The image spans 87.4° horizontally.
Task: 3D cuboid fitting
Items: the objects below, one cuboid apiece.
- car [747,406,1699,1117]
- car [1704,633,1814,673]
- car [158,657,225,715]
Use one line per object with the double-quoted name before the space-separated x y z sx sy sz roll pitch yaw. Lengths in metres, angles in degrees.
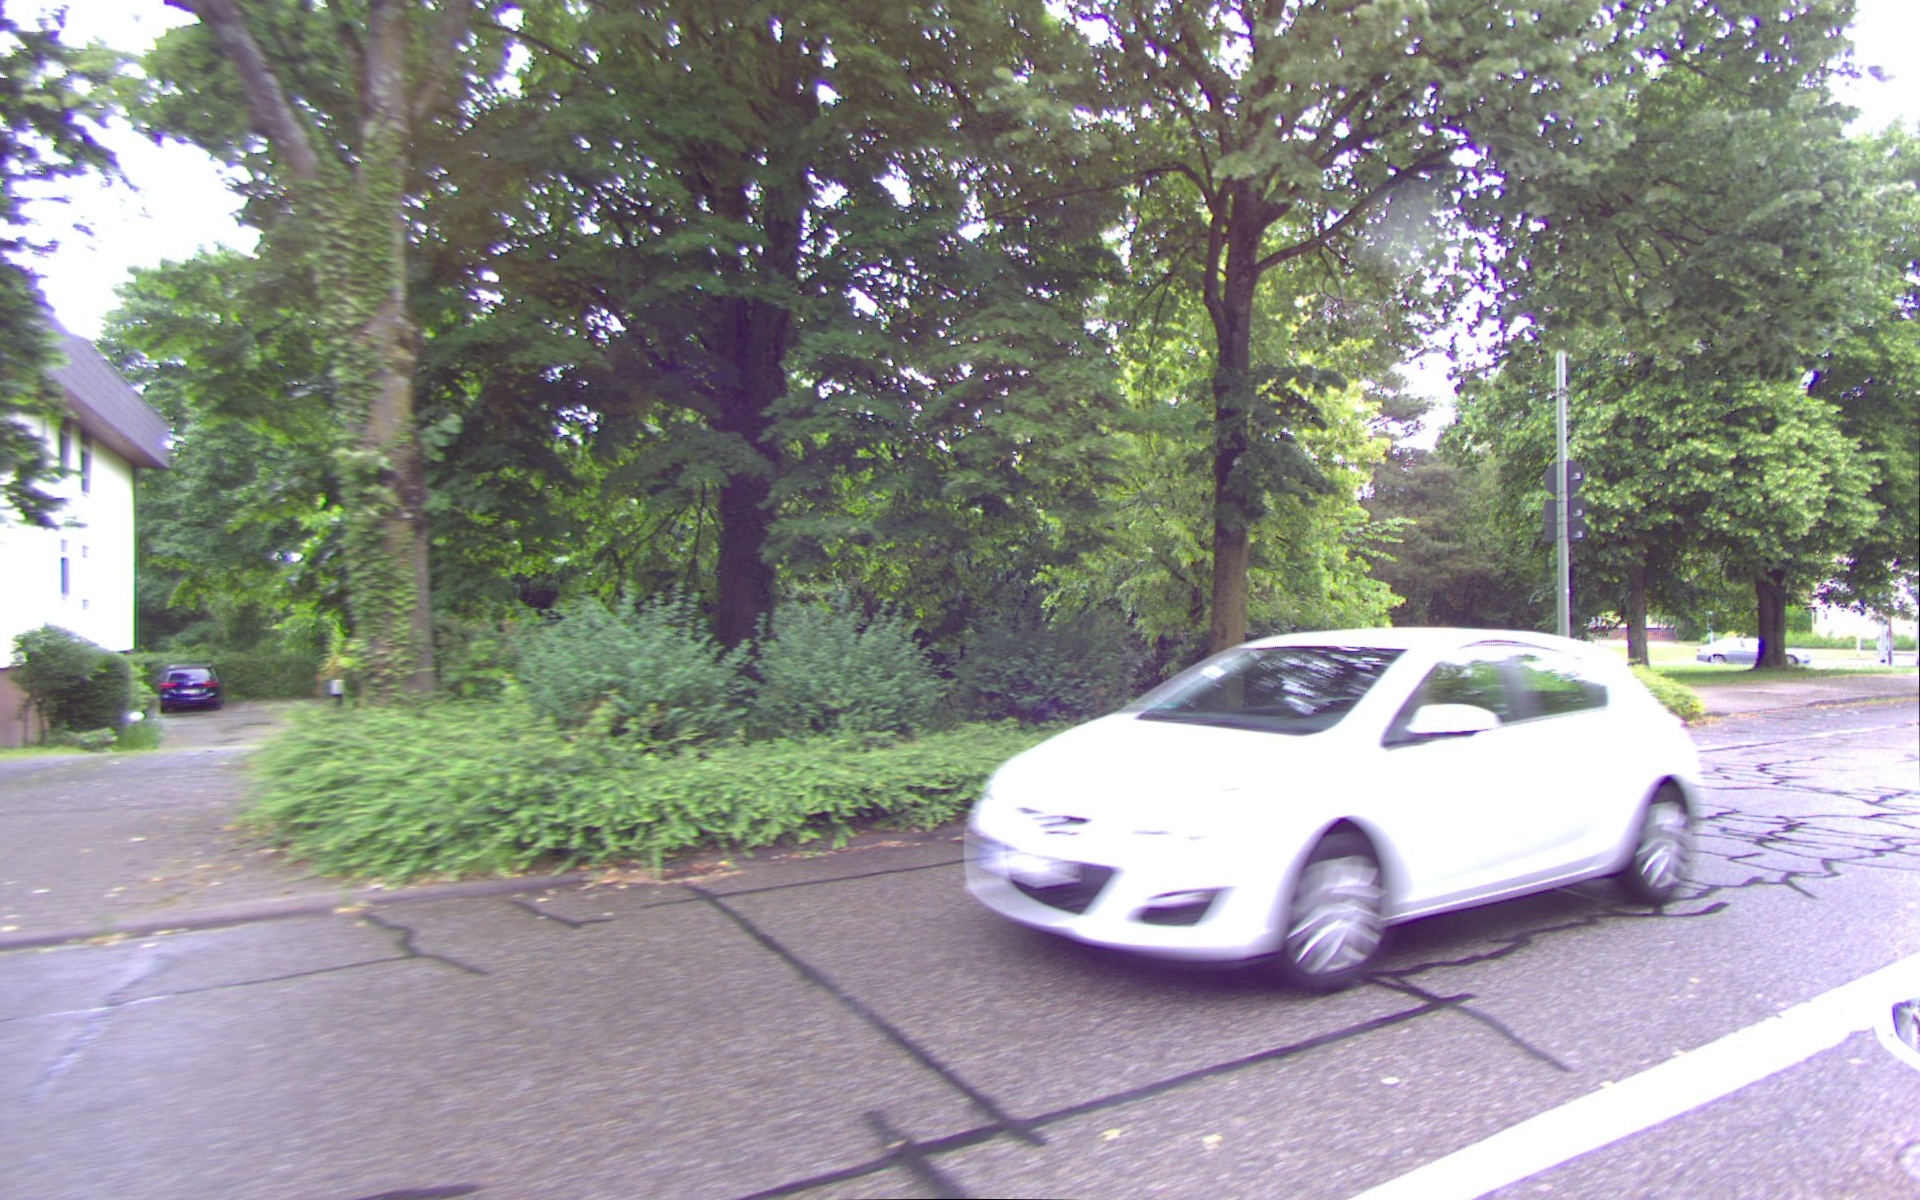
"car" 1.458 0.539 4.950 4.523 2.040 1.983 2 -3 -32
"car" 39.218 2.558 49.350 1.986 1.706 3.981 1 0 -43
"car" -28.375 3.121 37.054 1.810 1.740 3.954 2 0 -39
